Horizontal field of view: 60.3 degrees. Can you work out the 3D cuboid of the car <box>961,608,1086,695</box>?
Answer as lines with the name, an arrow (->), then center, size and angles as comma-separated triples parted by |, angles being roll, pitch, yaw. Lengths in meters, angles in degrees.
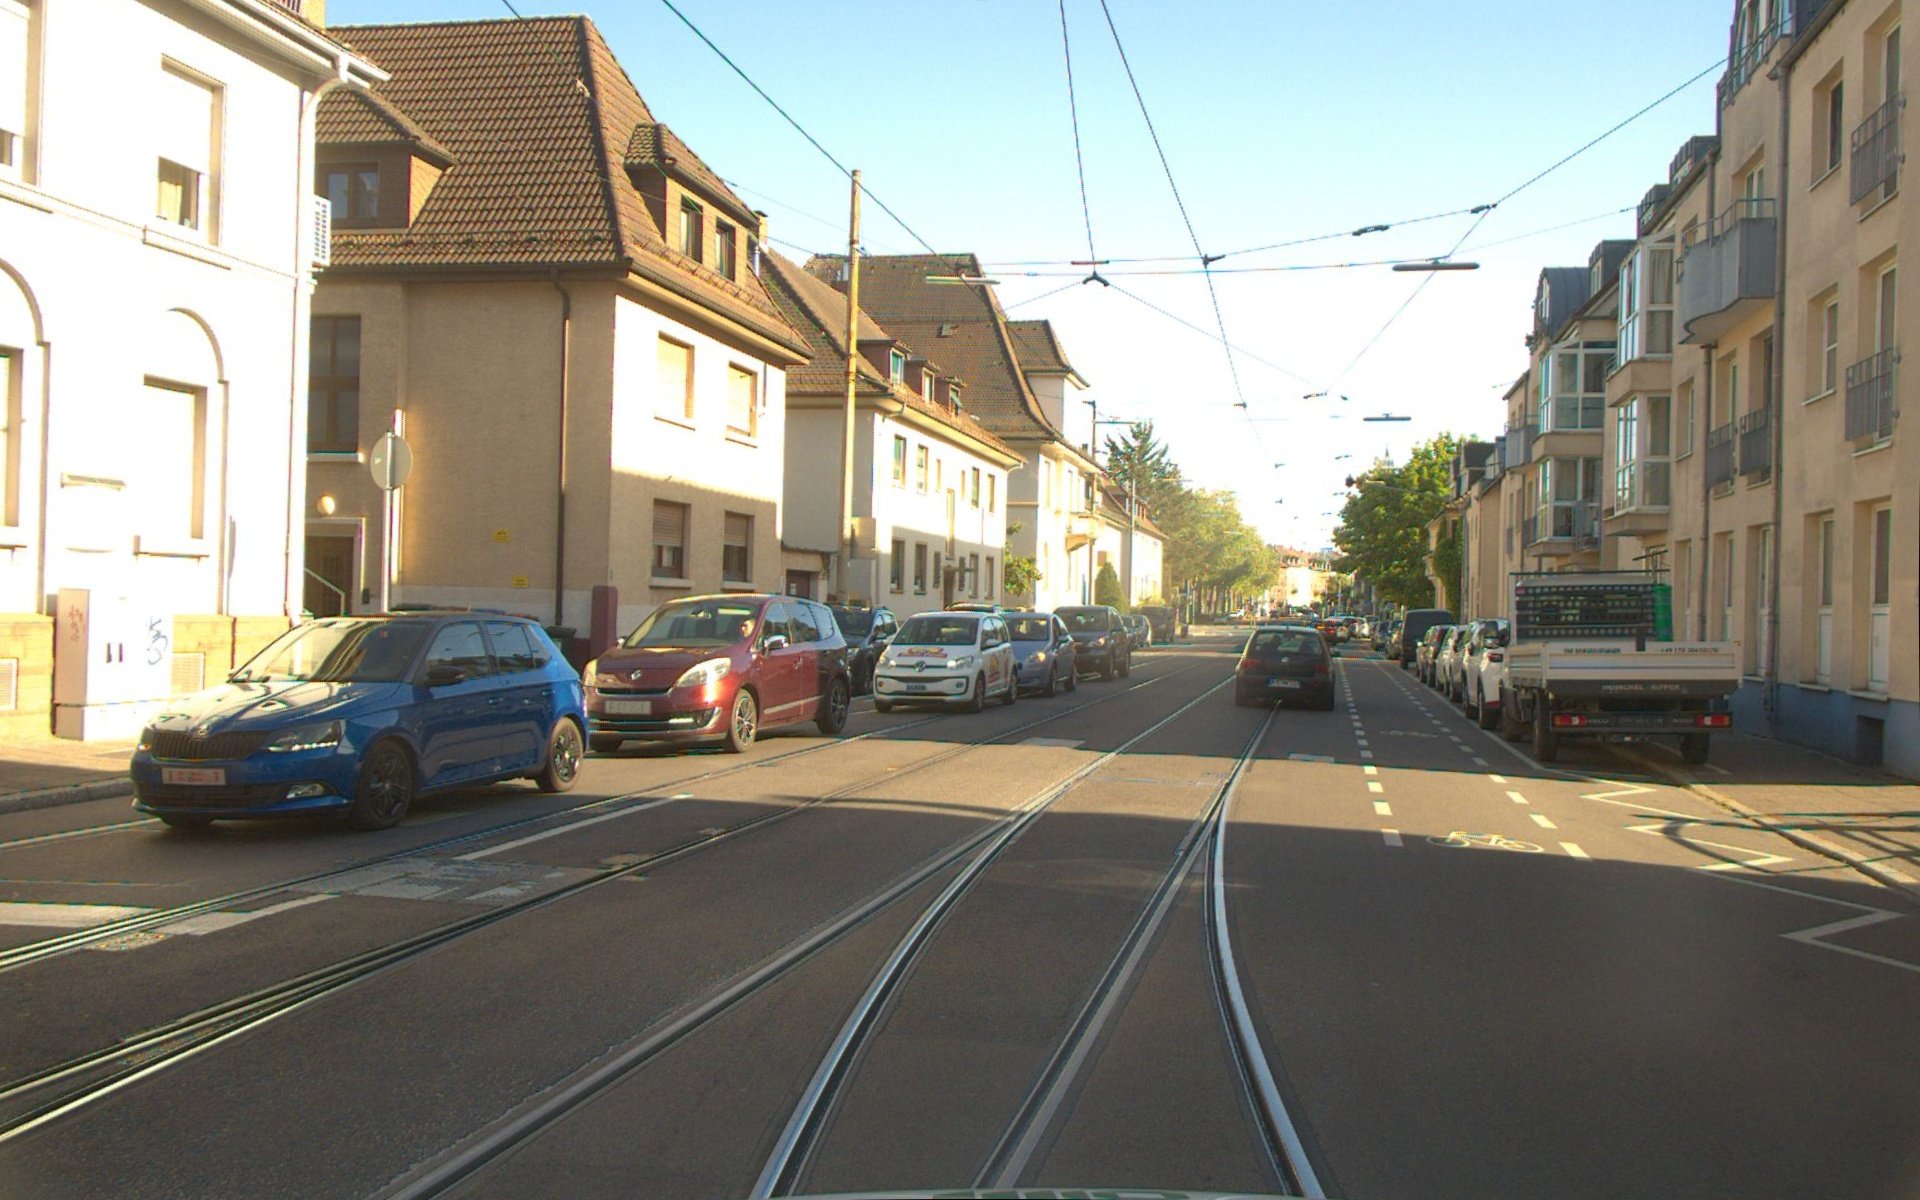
car -> 1.238, 0.901, 30.338 | 1.583, 1.486, 4.078 | 0, -1, 12

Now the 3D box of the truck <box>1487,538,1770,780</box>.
truck -> 8.052, 0.623, 20.602 | 2.246, 2.520, 6.151 | 1, 0, 13

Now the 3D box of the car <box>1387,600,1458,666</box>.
car -> 15.373, 1.068, 55.164 | 1.865, 2.022, 4.567 | 3, 0, 12

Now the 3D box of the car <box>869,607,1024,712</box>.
car -> -0.136, 0.866, 25.431 | 1.548, 1.486, 3.616 | 0, -1, 13

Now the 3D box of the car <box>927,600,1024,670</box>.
car -> 0.466, 0.886, 43.351 | 1.724, 1.734, 4.559 | 0, -1, 11

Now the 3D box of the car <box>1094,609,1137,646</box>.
car -> 6.821, 1.173, 72.411 | 1.627, 1.503, 4.254 | 1, 0, 9

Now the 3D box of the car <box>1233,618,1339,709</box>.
car -> 5.862, 1.071, 29.558 | 1.679, 1.427, 4.009 | 2, 0, 12

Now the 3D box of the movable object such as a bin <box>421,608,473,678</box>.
movable object such as a bin -> -8.665, 0.712, 27.957 | 0.557, 1.131, 0.591 | 4, 0, 12

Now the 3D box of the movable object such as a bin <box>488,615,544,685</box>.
movable object such as a bin -> -7.412, 0.828, 27.632 | 0.602, 1.098, 0.673 | 4, 0, 12

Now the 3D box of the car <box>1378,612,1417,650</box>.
car -> 20.216, 1.420, 76.506 | 1.426, 1.627, 3.297 | 3, 0, 11

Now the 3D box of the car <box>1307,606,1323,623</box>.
car -> 42.273, 1.671, 197.030 | 1.749, 1.892, 4.003 | 4, 0, 11

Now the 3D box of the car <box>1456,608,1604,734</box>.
car -> 9.059, 1.052, 26.588 | 1.702, 1.777, 4.259 | 3, 0, 12

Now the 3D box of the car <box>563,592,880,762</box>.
car -> -2.470, 0.766, 18.480 | 1.701, 1.639, 4.717 | 0, -1, 16

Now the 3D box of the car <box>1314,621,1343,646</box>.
car -> 23.001, 2.065, 103.327 | 1.702, 1.466, 3.812 | 1, 0, 12

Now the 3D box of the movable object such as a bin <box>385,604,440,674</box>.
movable object such as a bin -> -9.306, 0.654, 28.114 | 0.602, 1.131, 0.591 | 4, 0, 12

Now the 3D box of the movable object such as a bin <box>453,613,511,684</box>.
movable object such as a bin -> -8.046, 0.805, 27.829 | 0.628, 1.131, 0.673 | 4, 0, 12

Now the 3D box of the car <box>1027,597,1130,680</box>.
car -> 2.732, 0.826, 37.250 | 1.667, 1.734, 4.367 | 1, 0, 12

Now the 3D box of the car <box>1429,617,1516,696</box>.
car -> 11.394, 1.228, 36.934 | 1.465, 1.584, 3.367 | 3, 0, 12

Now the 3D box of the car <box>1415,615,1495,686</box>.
car -> 12.224, 1.205, 40.996 | 1.521, 1.584, 3.655 | 3, 0, 12

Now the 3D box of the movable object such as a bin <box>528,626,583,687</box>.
movable object such as a bin -> -6.752, 0.933, 27.620 | 0.643, 0.961, 0.583 | 4, 0, 12

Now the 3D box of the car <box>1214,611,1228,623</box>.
car -> 31.570, 2.043, 199.772 | 1.541, 1.503, 3.443 | 0, 0, 7

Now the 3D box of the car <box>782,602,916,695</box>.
car -> -2.069, 0.891, 31.755 | 1.581, 1.656, 3.924 | 0, -1, 11

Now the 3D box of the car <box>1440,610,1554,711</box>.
car -> 10.222, 1.099, 31.730 | 1.568, 1.729, 3.993 | 3, 0, 12

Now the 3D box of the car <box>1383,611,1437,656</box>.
car -> 18.149, 1.320, 66.863 | 1.707, 1.627, 4.437 | 3, 0, 11

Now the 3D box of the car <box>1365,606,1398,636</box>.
car -> 23.655, 1.195, 92.948 | 1.630, 1.591, 3.774 | 2, 0, 12

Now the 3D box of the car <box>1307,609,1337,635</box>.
car -> 20.489, 1.243, 93.431 | 1.599, 1.396, 3.760 | 1, 0, 13

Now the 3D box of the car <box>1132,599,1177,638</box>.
car -> 10.928, 1.032, 92.632 | 1.865, 2.049, 4.953 | 3, 0, 13

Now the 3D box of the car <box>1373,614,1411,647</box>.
car -> 22.117, 1.525, 84.834 | 1.567, 1.552, 3.552 | 3, 0, 11

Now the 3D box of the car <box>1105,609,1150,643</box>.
car -> 8.023, 1.205, 79.022 | 1.641, 1.503, 3.838 | 3, 0, 12

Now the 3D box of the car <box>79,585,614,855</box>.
car -> -4.147, 0.736, 11.909 | 1.648, 1.595, 3.931 | -1, -1, 14
